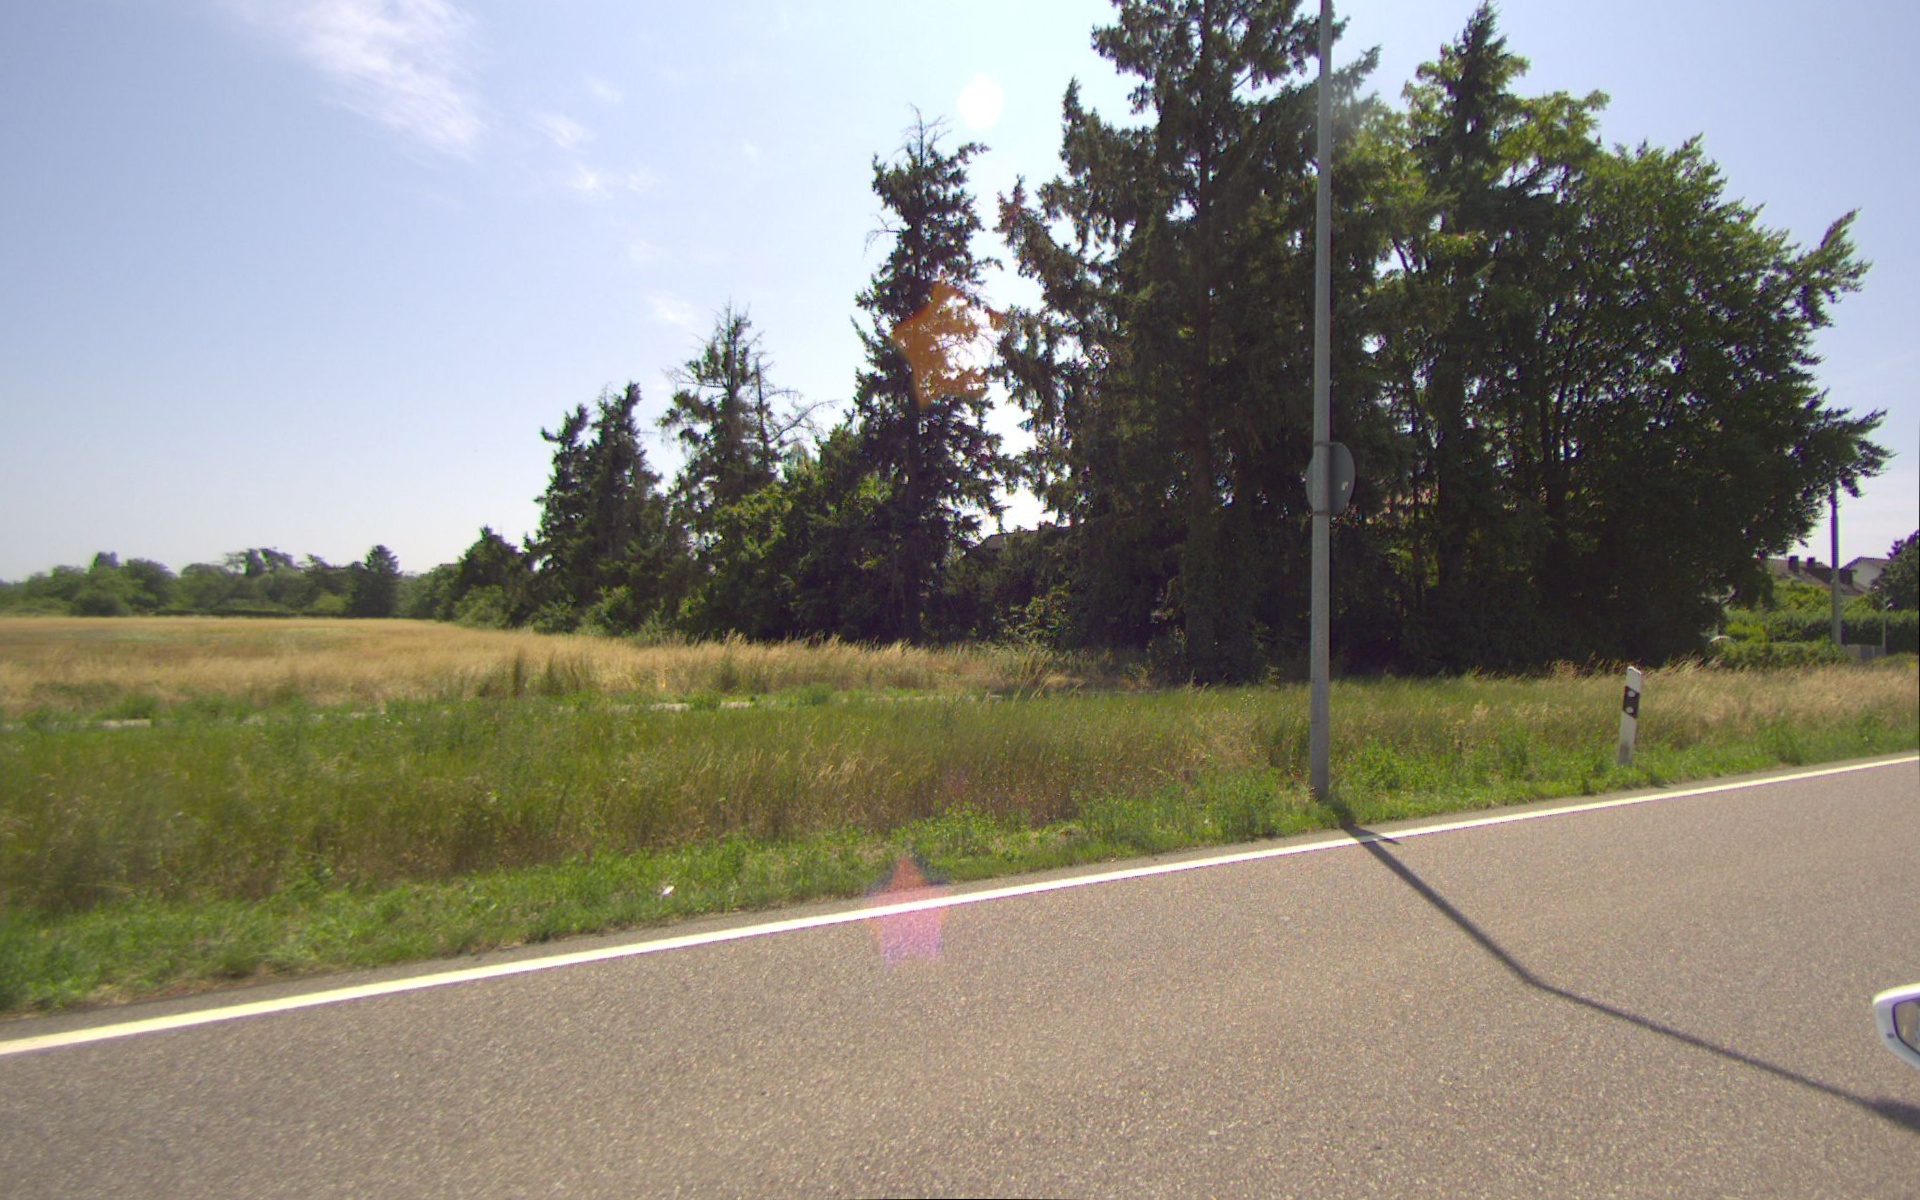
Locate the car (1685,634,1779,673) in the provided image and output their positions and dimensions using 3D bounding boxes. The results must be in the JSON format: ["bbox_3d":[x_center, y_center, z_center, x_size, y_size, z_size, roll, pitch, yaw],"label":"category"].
[{"bbox_3d":[32.196,2.220,41.862,4.138,1.511,1.697,2,0,-31],"label":"car"}]
